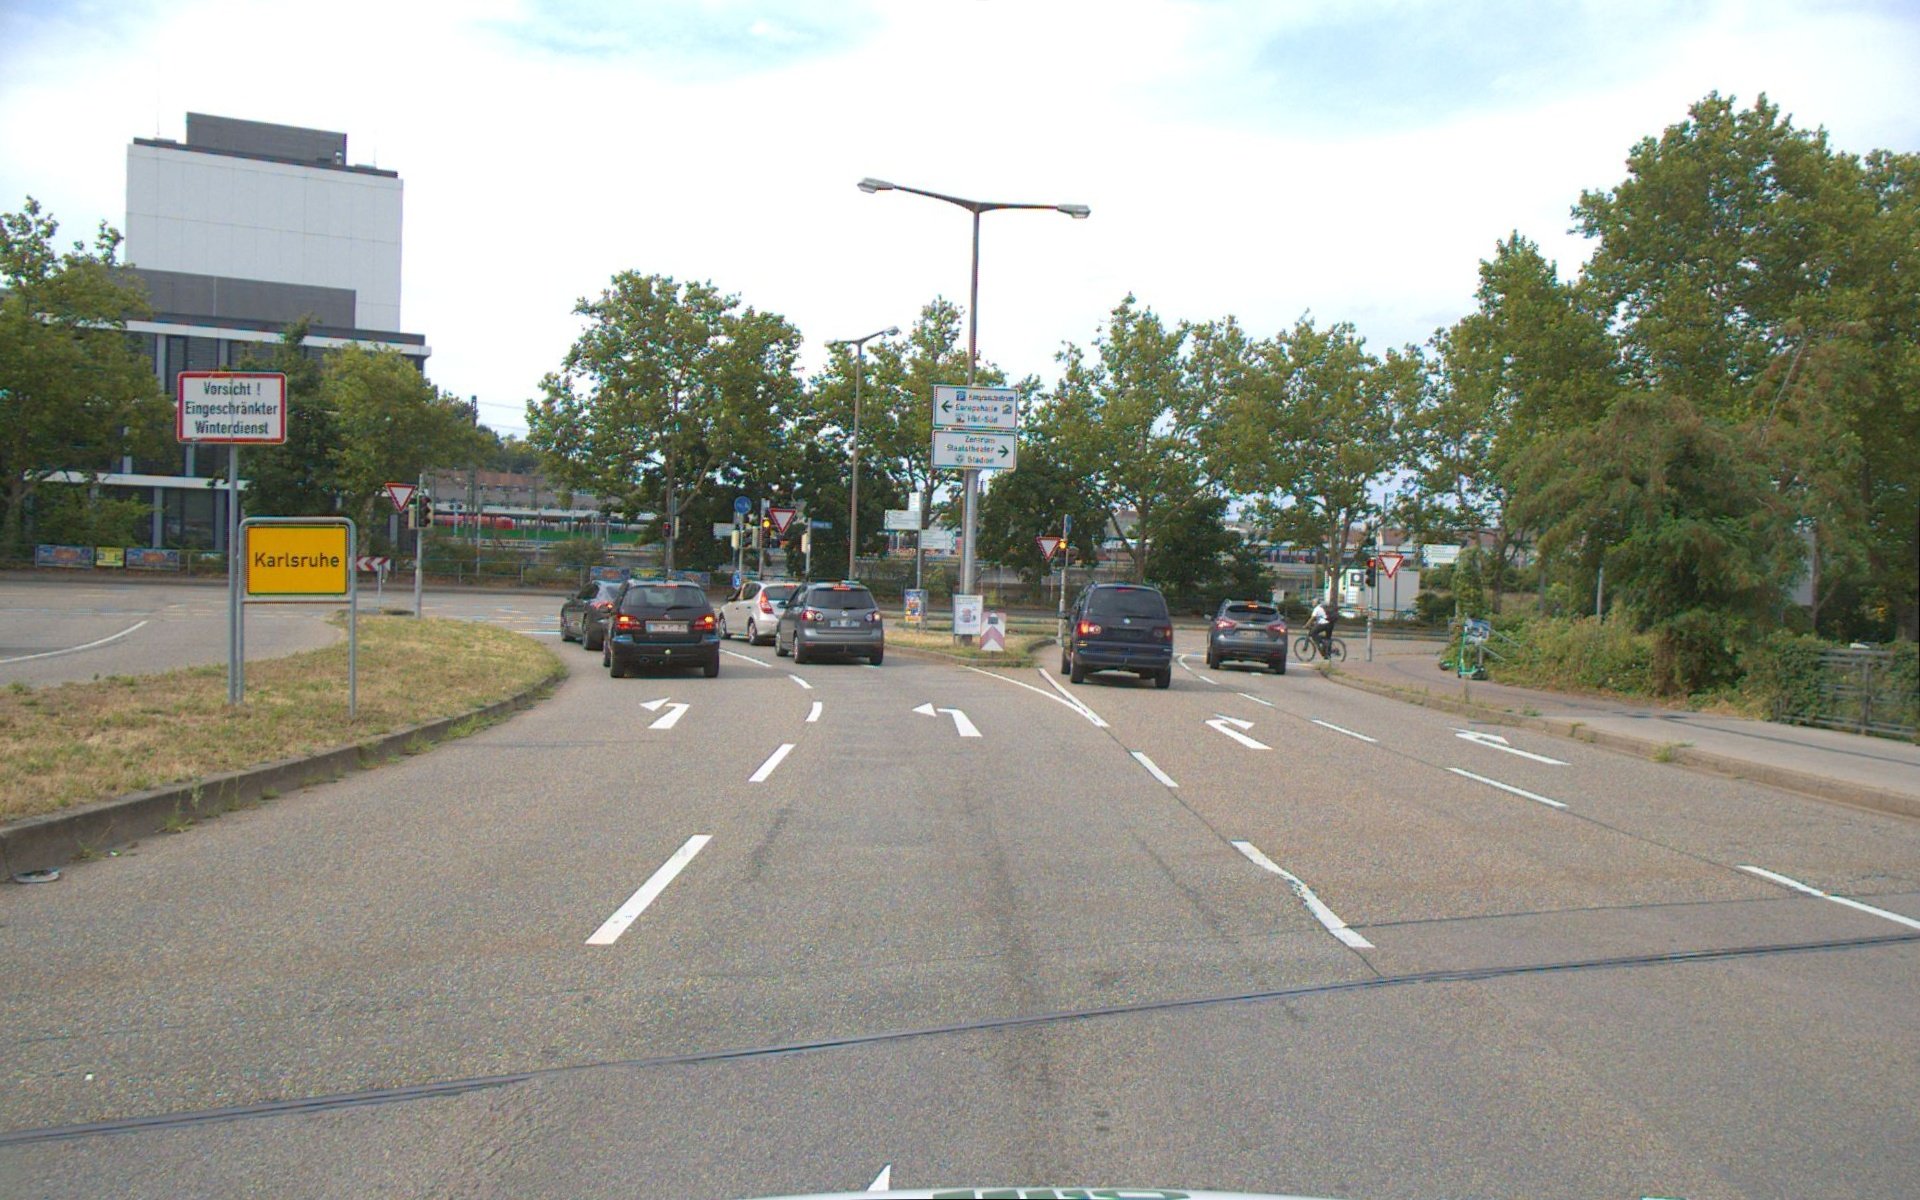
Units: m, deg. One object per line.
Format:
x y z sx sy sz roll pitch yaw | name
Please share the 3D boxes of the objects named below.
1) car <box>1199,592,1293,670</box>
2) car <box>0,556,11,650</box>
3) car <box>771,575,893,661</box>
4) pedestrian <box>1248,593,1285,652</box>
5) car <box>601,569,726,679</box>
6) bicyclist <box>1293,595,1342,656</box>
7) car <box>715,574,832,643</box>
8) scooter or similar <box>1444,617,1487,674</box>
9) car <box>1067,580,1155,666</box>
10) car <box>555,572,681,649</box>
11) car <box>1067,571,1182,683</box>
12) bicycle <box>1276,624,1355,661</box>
6.826 0.706 39.792 1.714 1.671 4.140 4 0 4 | car
-15.204 0.052 23.837 1.588 1.435 3.847 0 0 -13 | car
-2.641 0.318 33.259 1.712 1.573 4.066 1 1 -15 | car
9.380 0.669 50.703 1.025 1.740 0.854 3 1 10 | pedestrian
-5.107 0.348 28.147 1.728 1.602 4.021 2 2 -15 | car
10.433 0.735 48.233 0.806 1.726 1.099 1 1 -41 | bicyclist
-4.533 0.172 39.675 1.717 1.508 4.054 1 1 -22 | car
11.196 1.000 36.671 0.389 1.204 1.278 1 0 -7 | scooter or similar
3.167 0.456 35.034 1.655 1.612 4.158 4 0 4 | car
-7.451 0.186 35.694 1.793 1.438 4.744 2 1 -22 | car
2.865 0.446 29.598 1.714 1.754 4.139 4 0 2 | car
10.372 1.223 48.288 0.804 0.969 2.203 1 1 -40 | bicycle
